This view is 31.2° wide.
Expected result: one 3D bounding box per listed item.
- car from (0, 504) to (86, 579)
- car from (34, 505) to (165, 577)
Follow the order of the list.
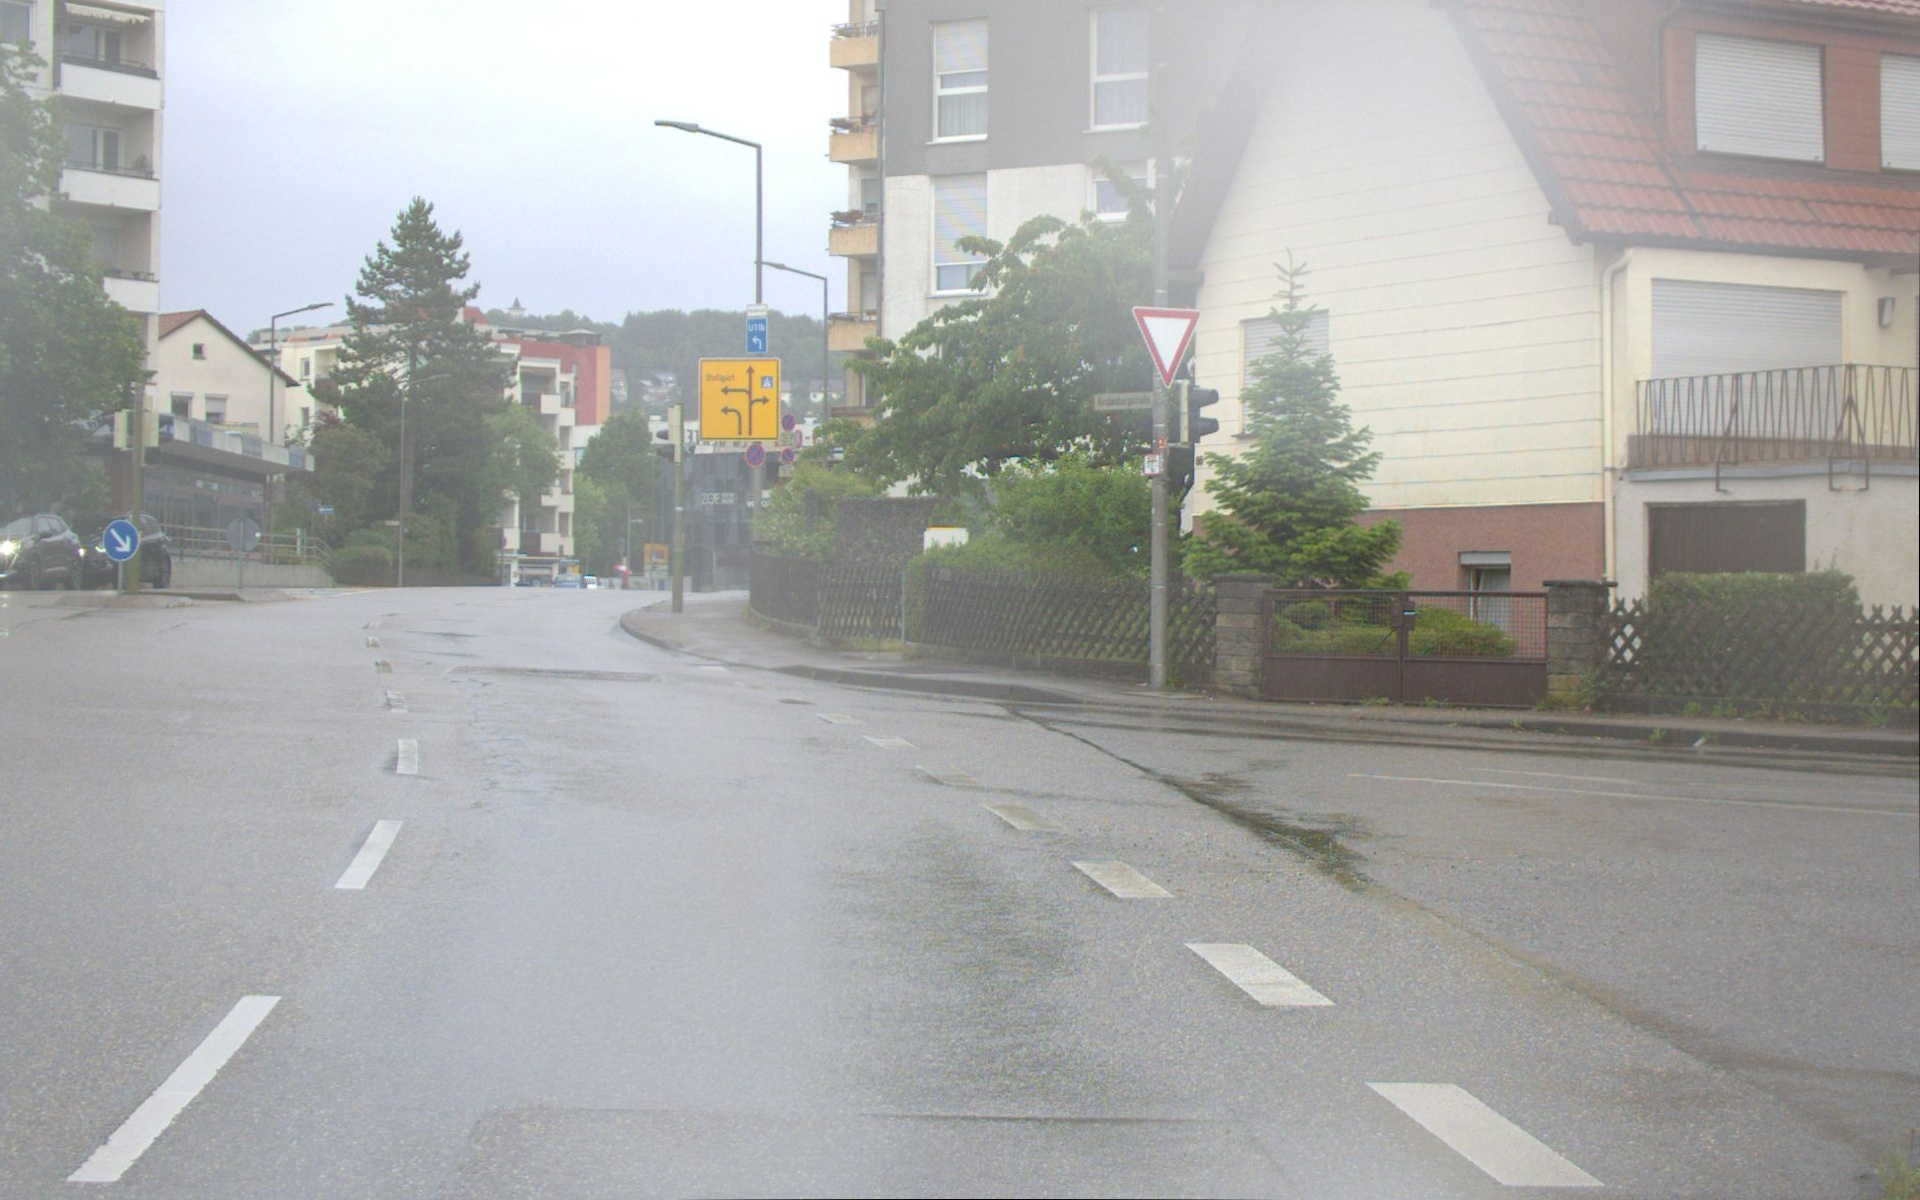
[{"bbox_3d":[-18.054,-1.135,65.662,1.715,1.382,4.021,1,1,-1],"label":"car"},{"bbox_3d":[-17.842,-1.236,71.411,1.778,1.415,3.831,1,1,-1],"label":"car"}]
